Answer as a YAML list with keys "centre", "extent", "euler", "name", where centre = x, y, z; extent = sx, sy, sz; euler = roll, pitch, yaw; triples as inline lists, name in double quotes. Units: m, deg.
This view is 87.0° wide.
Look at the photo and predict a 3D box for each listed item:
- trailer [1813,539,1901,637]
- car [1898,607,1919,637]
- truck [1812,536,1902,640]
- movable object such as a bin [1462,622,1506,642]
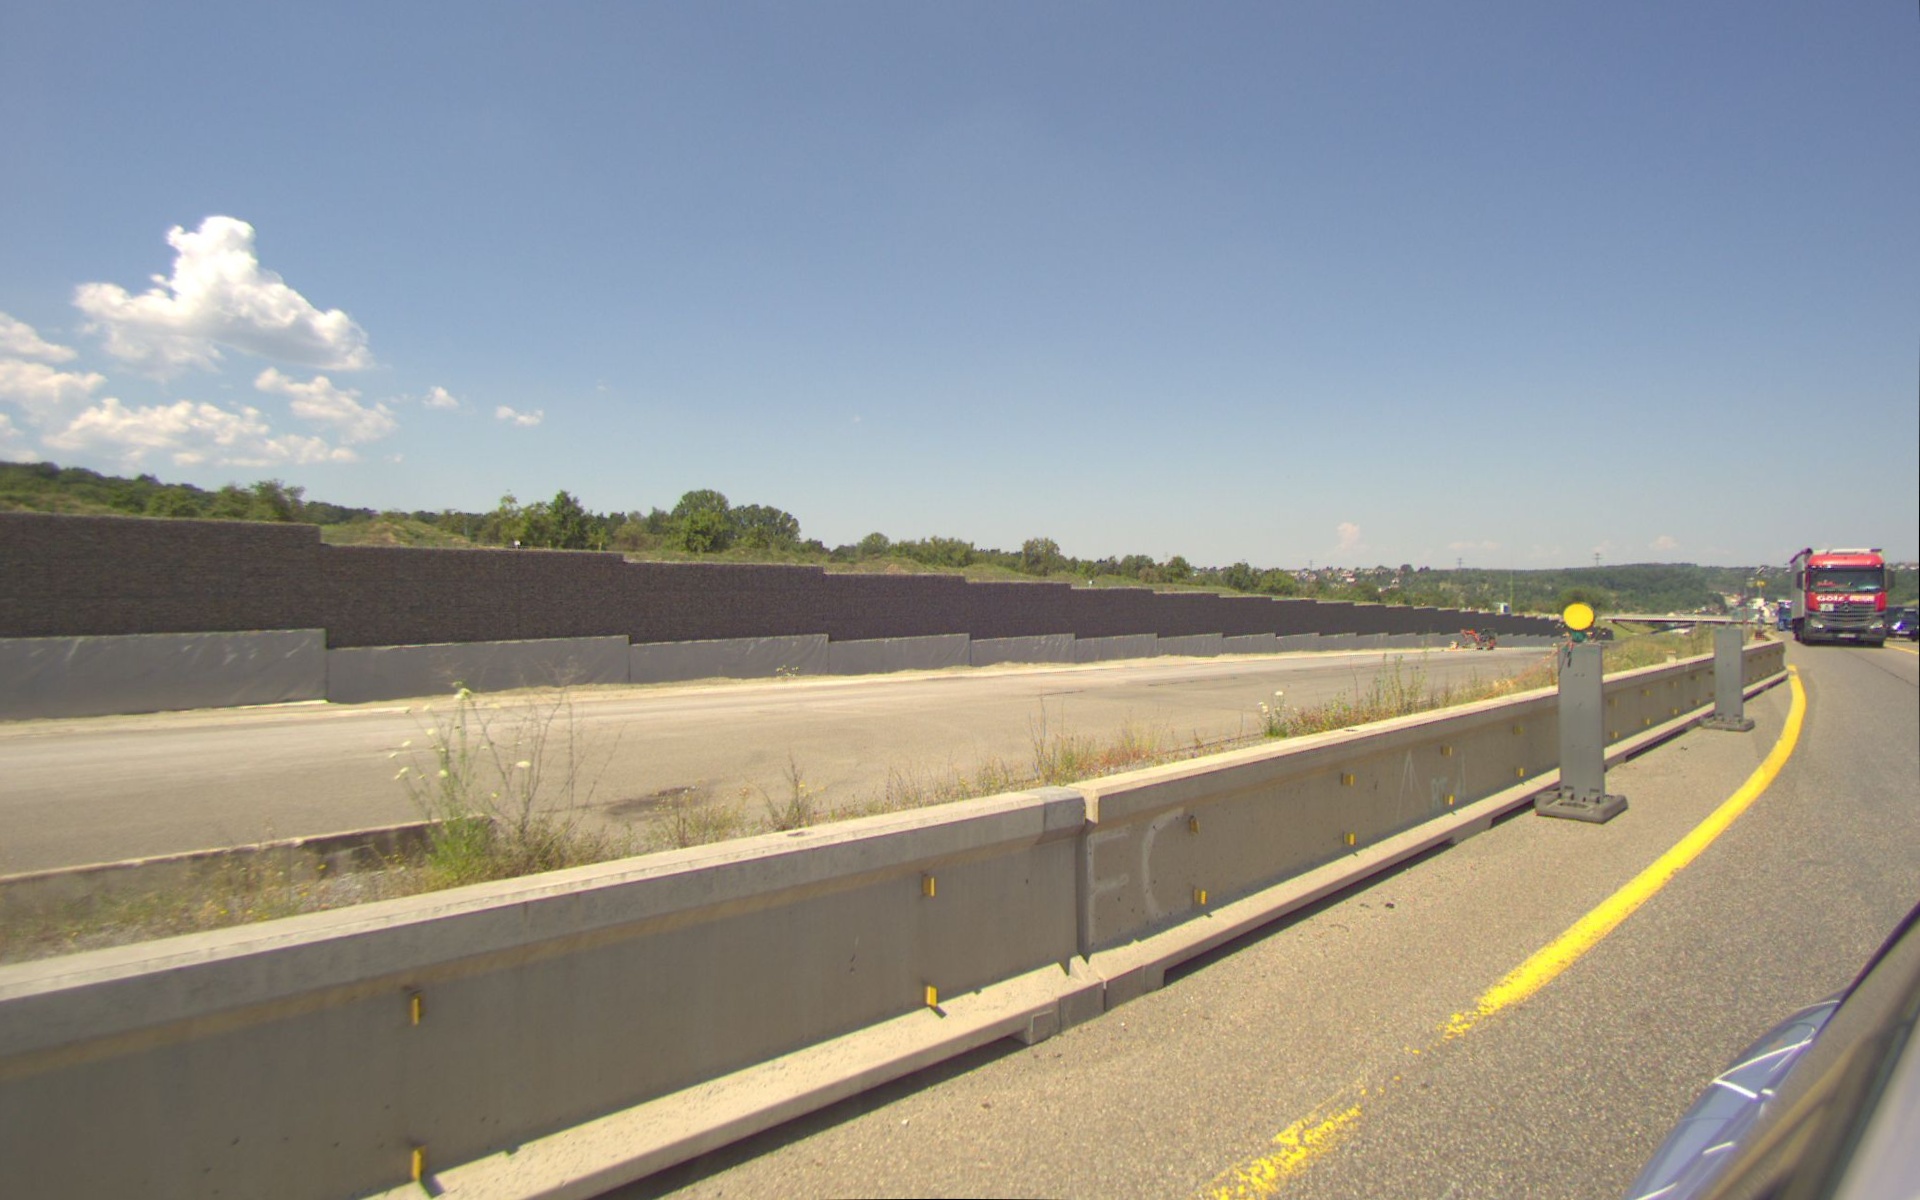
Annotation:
- centre: [40.696, -0.511, 46.072]
  extent: [2.692, 3.923, 12.238]
  euler: [0, 0, 41]
  name: "trailer"
- centre: [50.139, 1.119, 52.915]
  extent: [1.421, 1.504, 3.366]
  euler: [0, 0, 39]
  name: "car"
- centre: [36.520, -0.467, 41.295]
  extent: [2.618, 3.952, 4.860]
  euler: [0, 0, 41]
  name: "truck"
- centre: [59.285, 3.633, 114.473]
  extent: [4.070, 2.175, 1.756]
  euler: [0, 0, 13]
  name: "movable object such as a bin"
